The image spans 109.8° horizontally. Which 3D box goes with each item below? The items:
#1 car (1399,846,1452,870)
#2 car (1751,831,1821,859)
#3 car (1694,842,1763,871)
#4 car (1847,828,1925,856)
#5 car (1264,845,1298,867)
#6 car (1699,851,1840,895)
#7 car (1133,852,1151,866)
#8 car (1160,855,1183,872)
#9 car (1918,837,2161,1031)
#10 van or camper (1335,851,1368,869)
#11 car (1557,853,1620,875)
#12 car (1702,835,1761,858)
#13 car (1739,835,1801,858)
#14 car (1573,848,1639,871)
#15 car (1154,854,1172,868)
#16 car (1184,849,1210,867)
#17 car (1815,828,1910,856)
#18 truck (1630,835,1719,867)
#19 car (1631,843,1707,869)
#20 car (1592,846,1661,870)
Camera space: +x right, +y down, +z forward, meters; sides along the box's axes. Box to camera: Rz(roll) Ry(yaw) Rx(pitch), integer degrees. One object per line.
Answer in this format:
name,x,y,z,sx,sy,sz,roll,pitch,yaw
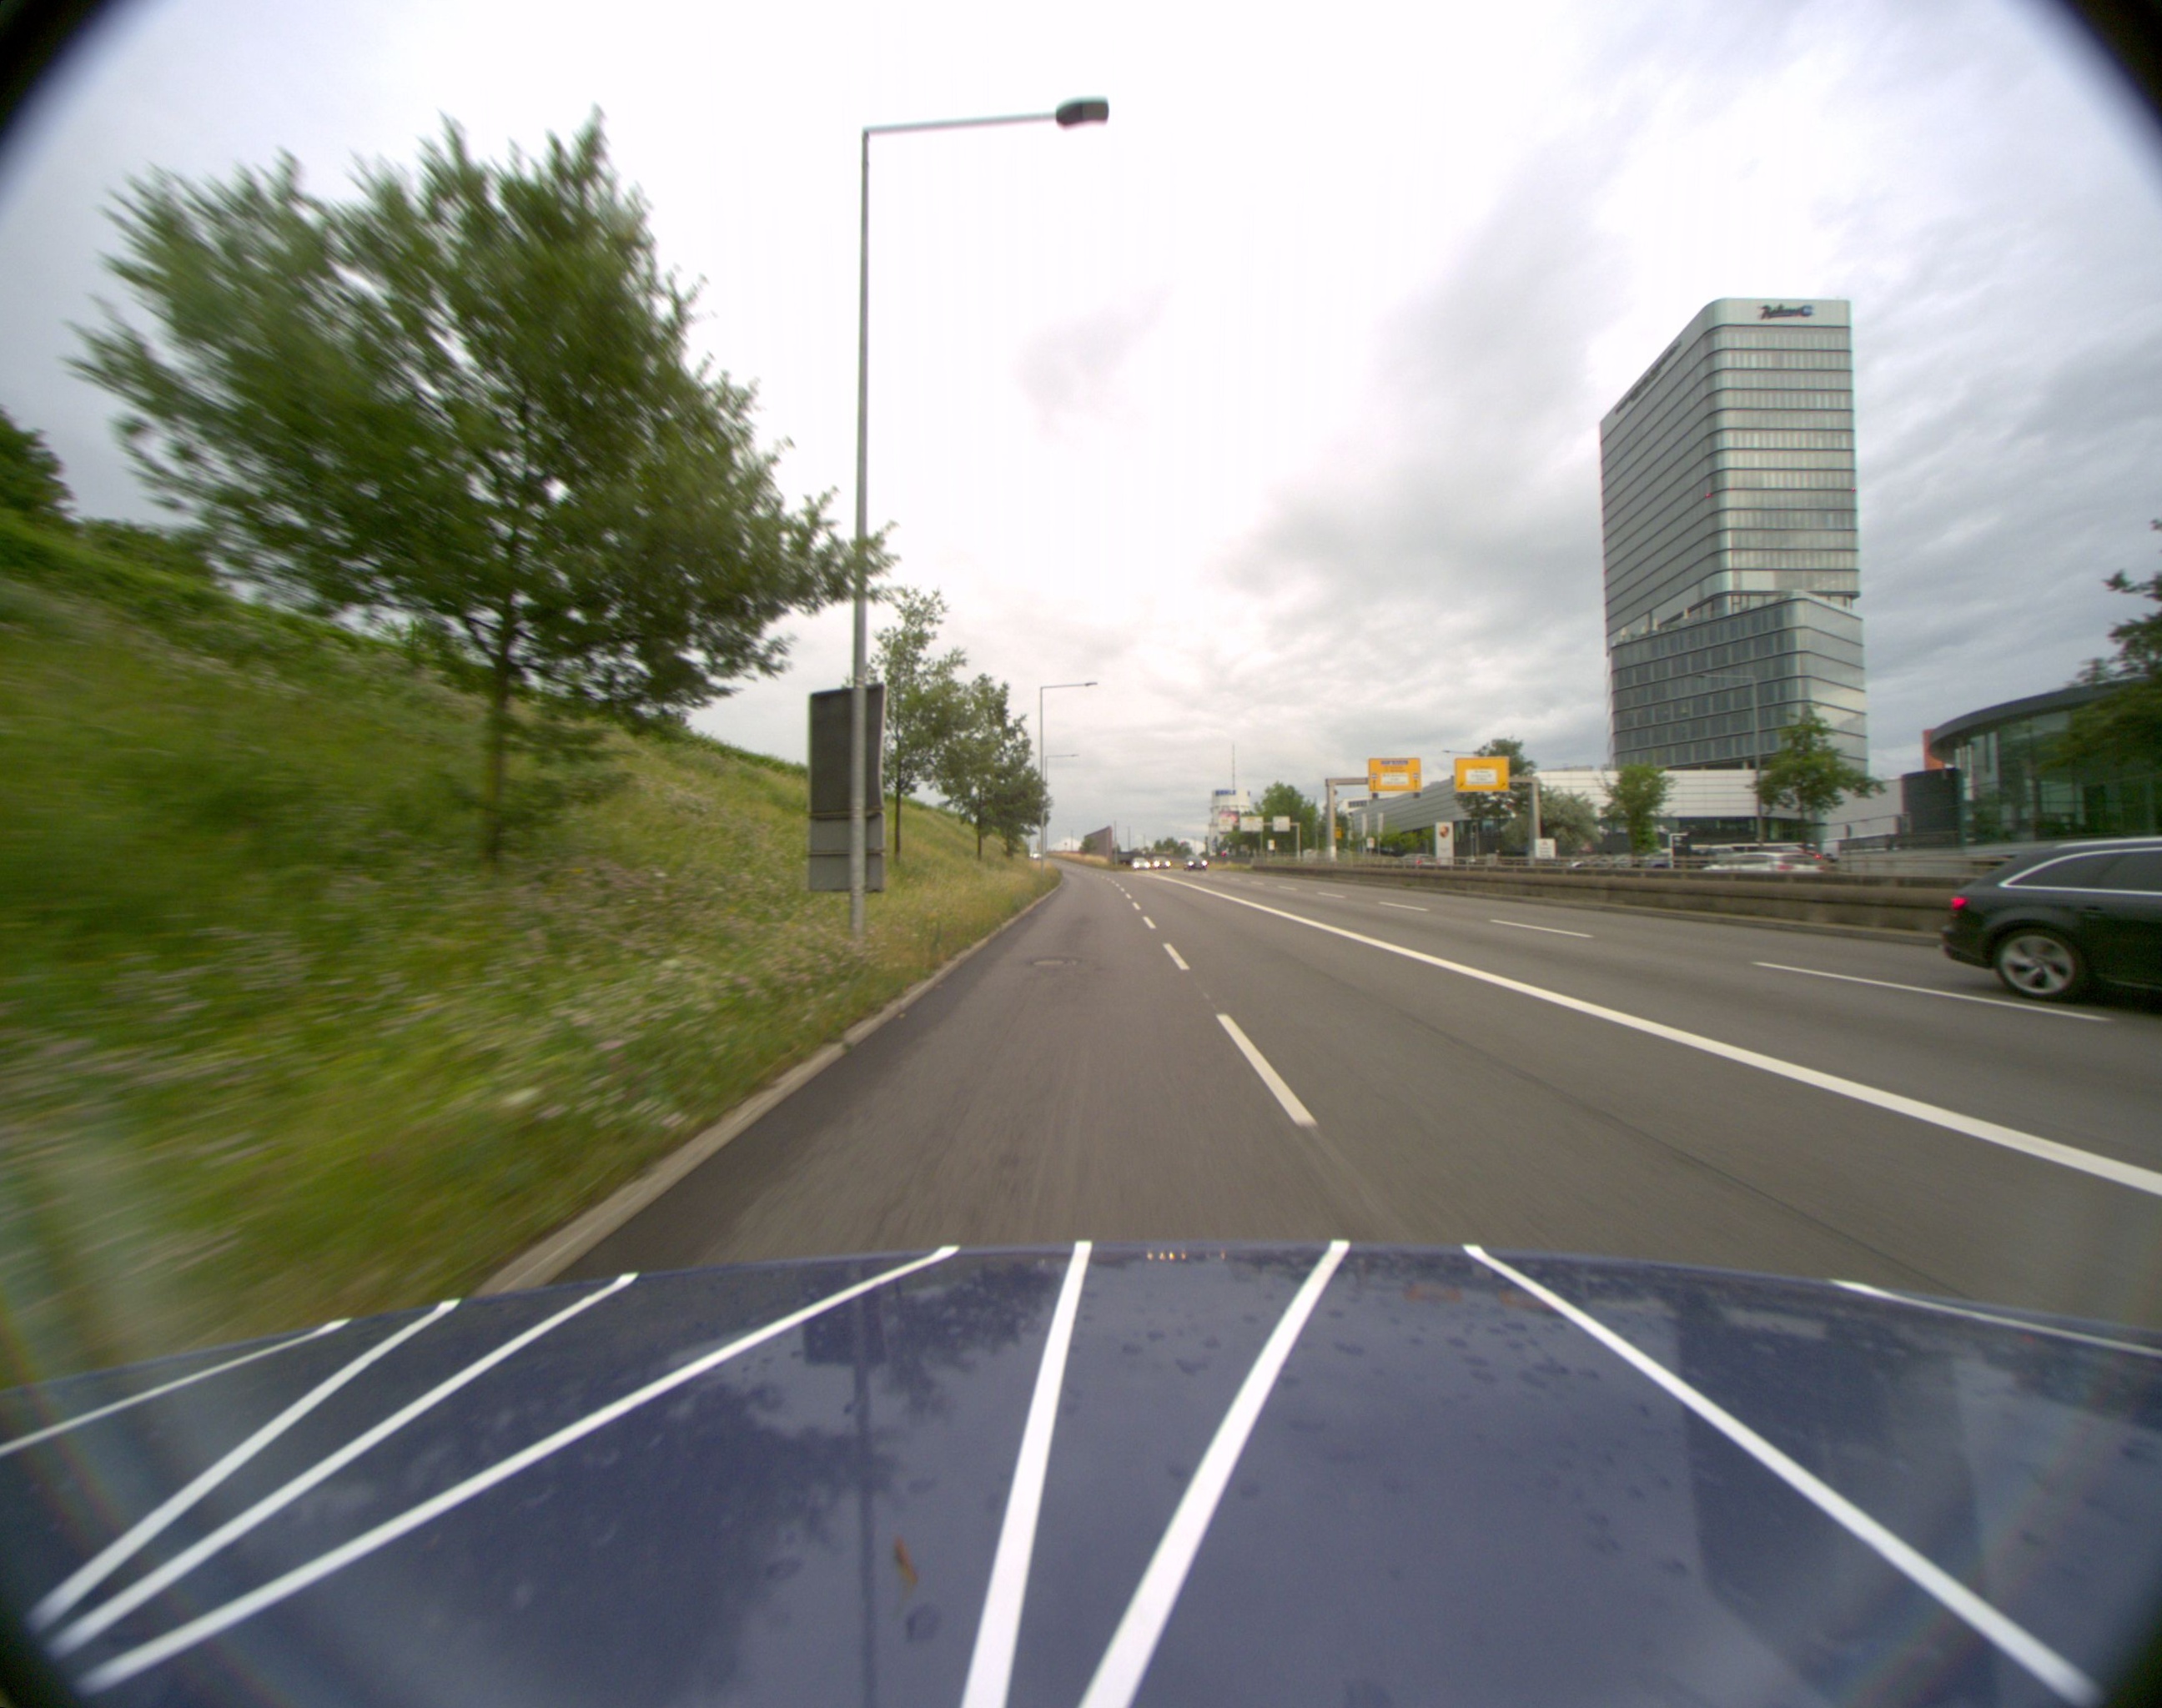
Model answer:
car,24.417,0.267,54.016,1.998,1.576,3.999,0,1,1
car,54.300,-0.640,58.664,1.905,1.870,4.004,-3,-2,7
car,42.662,0.200,50.191,1.919,1.673,4.510,-3,-3,20
car,62.353,-0.894,58.952,1.997,1.870,4.004,-3,-2,7
car,15.904,0.201,60.595,1.692,1.580,3.550,-3,-2,-1
car,26.312,0.695,29.234,1.998,1.575,4.002,-1,0,5
car,7.227,0.558,90.121,1.872,1.622,4.000,-1,0,0
car,9.334,0.925,78.431,1.872,1.622,4.000,-1,0,0
car,9.052,0.602,5.108,1.814,1.411,4.632,-3,0,2
van or camper,28.272,0.683,79.615,1.869,1.647,3.949,-2,-2,-2
car,43.676,0.840,65.414,3.996,1.673,1.924,-3,-2,2
car,56.081,-0.611,65.622,1.921,1.673,4.004,-3,-2,7
car,58.918,-0.642,65.059,1.921,1.673,4.004,-3,-2,7
car,43.569,0.441,63.133,3.996,1.673,1.924,-3,-2,2
car,10.294,0.850,95.319,1.872,1.622,4.000,-1,0,0
car,10.929,0.393,71.866,1.872,1.622,4.000,-1,0,0
car,59.863,-0.884,58.350,1.997,1.870,5.539,-3,-1,7
truck,53.021,-0.184,68.187,2.371,2.512,7.416,-3,-2,4
car,43.262,0.170,55.951,3.996,1.673,1.924,-3,-2,2
car,43.511,0.328,60.712,3.996,1.673,1.924,-3,-2,2
